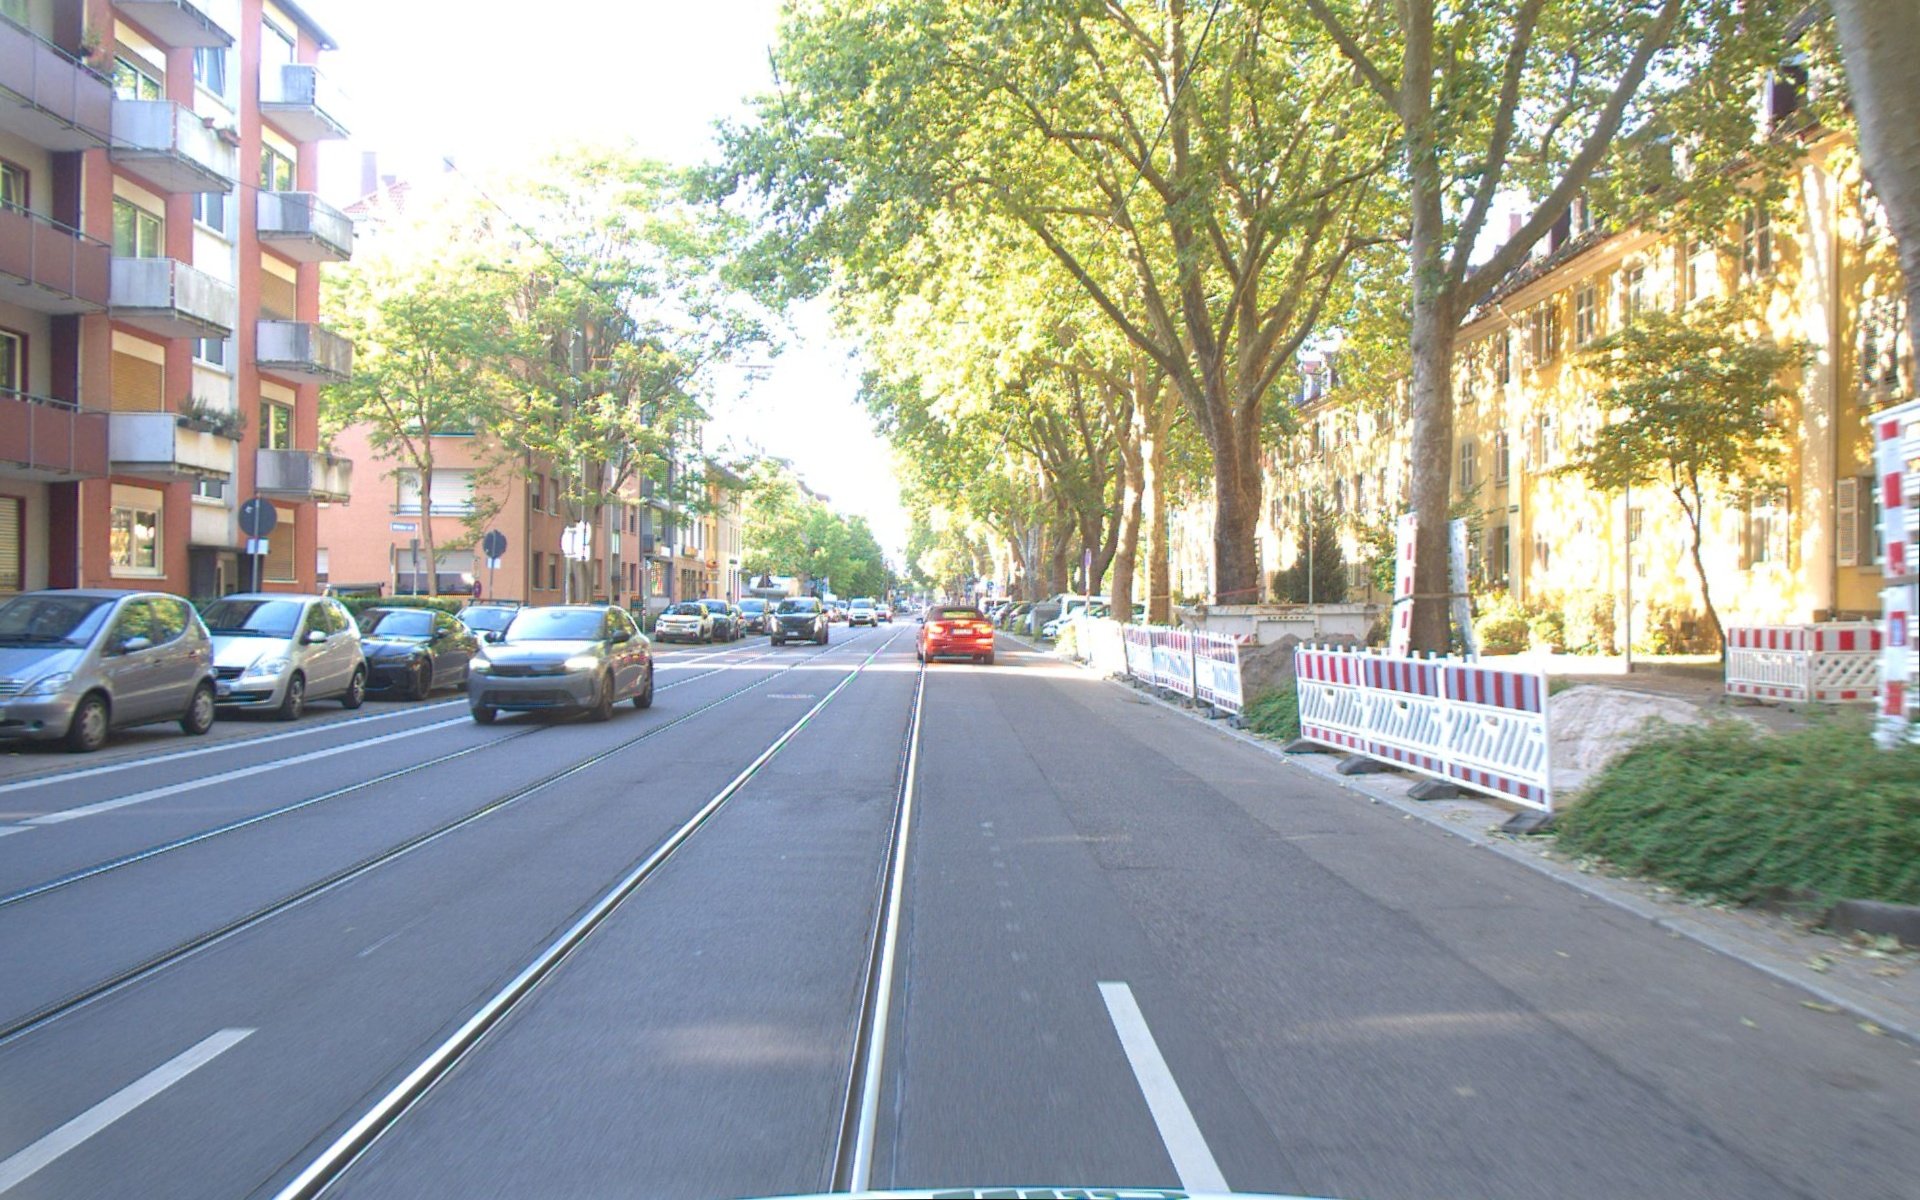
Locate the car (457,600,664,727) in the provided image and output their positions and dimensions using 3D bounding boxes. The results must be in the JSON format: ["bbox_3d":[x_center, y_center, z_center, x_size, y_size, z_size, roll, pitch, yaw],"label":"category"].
[{"bbox_3d":[-5.126,0.760,21.744,1.759,1.471,4.052,-1,0,-1],"label":"car"}]

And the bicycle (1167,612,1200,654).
[{"bbox_3d":[6.426,0.928,47.607,0.676,1.174,1.948,0,0,-1],"label":"bicycle"}]

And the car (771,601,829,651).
[{"bbox_3d":[-5.615,0.873,58.321,1.816,1.628,4.461,2,0,-3],"label":"car"}]

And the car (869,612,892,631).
[{"bbox_3d":[-6.498,1.768,135.597,1.740,1.483,4.201,-1,0,-1],"label":"car"}]

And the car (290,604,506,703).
[{"bbox_3d":[-9.272,0.819,27.763,1.912,1.419,4.862,3,0,0],"label":"car"}]

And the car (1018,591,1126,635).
[{"bbox_3d":[5.138,0.612,76.290,4.740,1.998,2.063,0,0,-3],"label":"car"}]

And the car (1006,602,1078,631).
[{"bbox_3d":[4.410,0.875,89.084,3.760,1.536,1.710,0,0,-2],"label":"car"}]

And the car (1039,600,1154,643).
[{"bbox_3d":[5.142,0.792,62.821,4.279,1.569,1.802,0,0,3],"label":"car"}]

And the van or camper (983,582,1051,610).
[{"bbox_3d":[4.792,-0.351,139.747,5.448,2.048,2.242,-2,2,-6],"label":"van or camper"}]

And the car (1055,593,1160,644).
[{"bbox_3d":[5.379,0.675,60.801,3.764,1.803,1.917,0,0,3],"label":"car"}]

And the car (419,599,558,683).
[{"bbox_3d":[-9.340,0.768,33.059,1.690,1.509,3.928,3,0,-2],"label":"car"}]

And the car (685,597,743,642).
[{"bbox_3d":[-9.878,0.755,66.736,1.745,1.638,4.586,3,0,-2],"label":"car"}]

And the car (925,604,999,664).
[{"bbox_3d":[0.040,0.822,41.910,1.756,1.413,4.236,1,0,0],"label":"car"}]

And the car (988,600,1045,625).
[{"bbox_3d":[3.939,0.881,115.670,3.845,1.699,1.960,0,0,-3],"label":"car"}]

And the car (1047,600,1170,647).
[{"bbox_3d":[5.041,0.810,56.511,4.006,1.548,1.915,0,-1,-2],"label":"car"}]

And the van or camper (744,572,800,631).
[{"bbox_3d":[-10.613,0.075,93.749,2.290,3.094,6.396,3,0,0],"label":"van or camper"}]

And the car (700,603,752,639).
[{"bbox_3d":[-10.132,0.884,71.880,1.703,1.425,4.381,2,0,-2],"label":"car"}]

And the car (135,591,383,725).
[{"bbox_3d":[-9.358,0.715,22.440,1.783,1.614,4.003,1,0,-3],"label":"car"}]

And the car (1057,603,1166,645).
[{"bbox_3d":[5.352,0.828,58.837,3.764,1.458,1.852,0,0,3],"label":"car"}]

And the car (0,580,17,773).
[{"bbox_3d":[-9.231,0.620,12.127,1.913,1.677,4.879,2,-1,-2],"label":"car"}]

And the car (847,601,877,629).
[{"bbox_3d":[-6.524,0.977,110.312,1.853,1.864,4.894,0,0,-1],"label":"car"}]

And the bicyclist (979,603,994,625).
[{"bbox_3d":[2.098,1.122,132.196,1.027,1.735,1.055,0,0,-11],"label":"bicyclist"}]

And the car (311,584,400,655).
[{"bbox_3d":[-19.417,0.612,53.039,1.972,2.160,4.677,1,-1,-29],"label":"car"}]

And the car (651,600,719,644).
[{"bbox_3d":[-10.112,0.808,61.132,1.769,1.504,4.089,2,0,0],"label":"car"}]

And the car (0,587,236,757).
[{"bbox_3d":[-9.277,0.697,17.454,1.592,1.599,3.781,0,-1,0],"label":"car"}]

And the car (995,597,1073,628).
[{"bbox_3d":[4.287,0.725,95.540,4.402,1.630,2.028,-2,0,3],"label":"car"}]

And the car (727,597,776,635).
[{"bbox_3d":[-10.234,0.762,81.496,1.913,1.716,5.068,2,0,-2],"label":"car"}]
